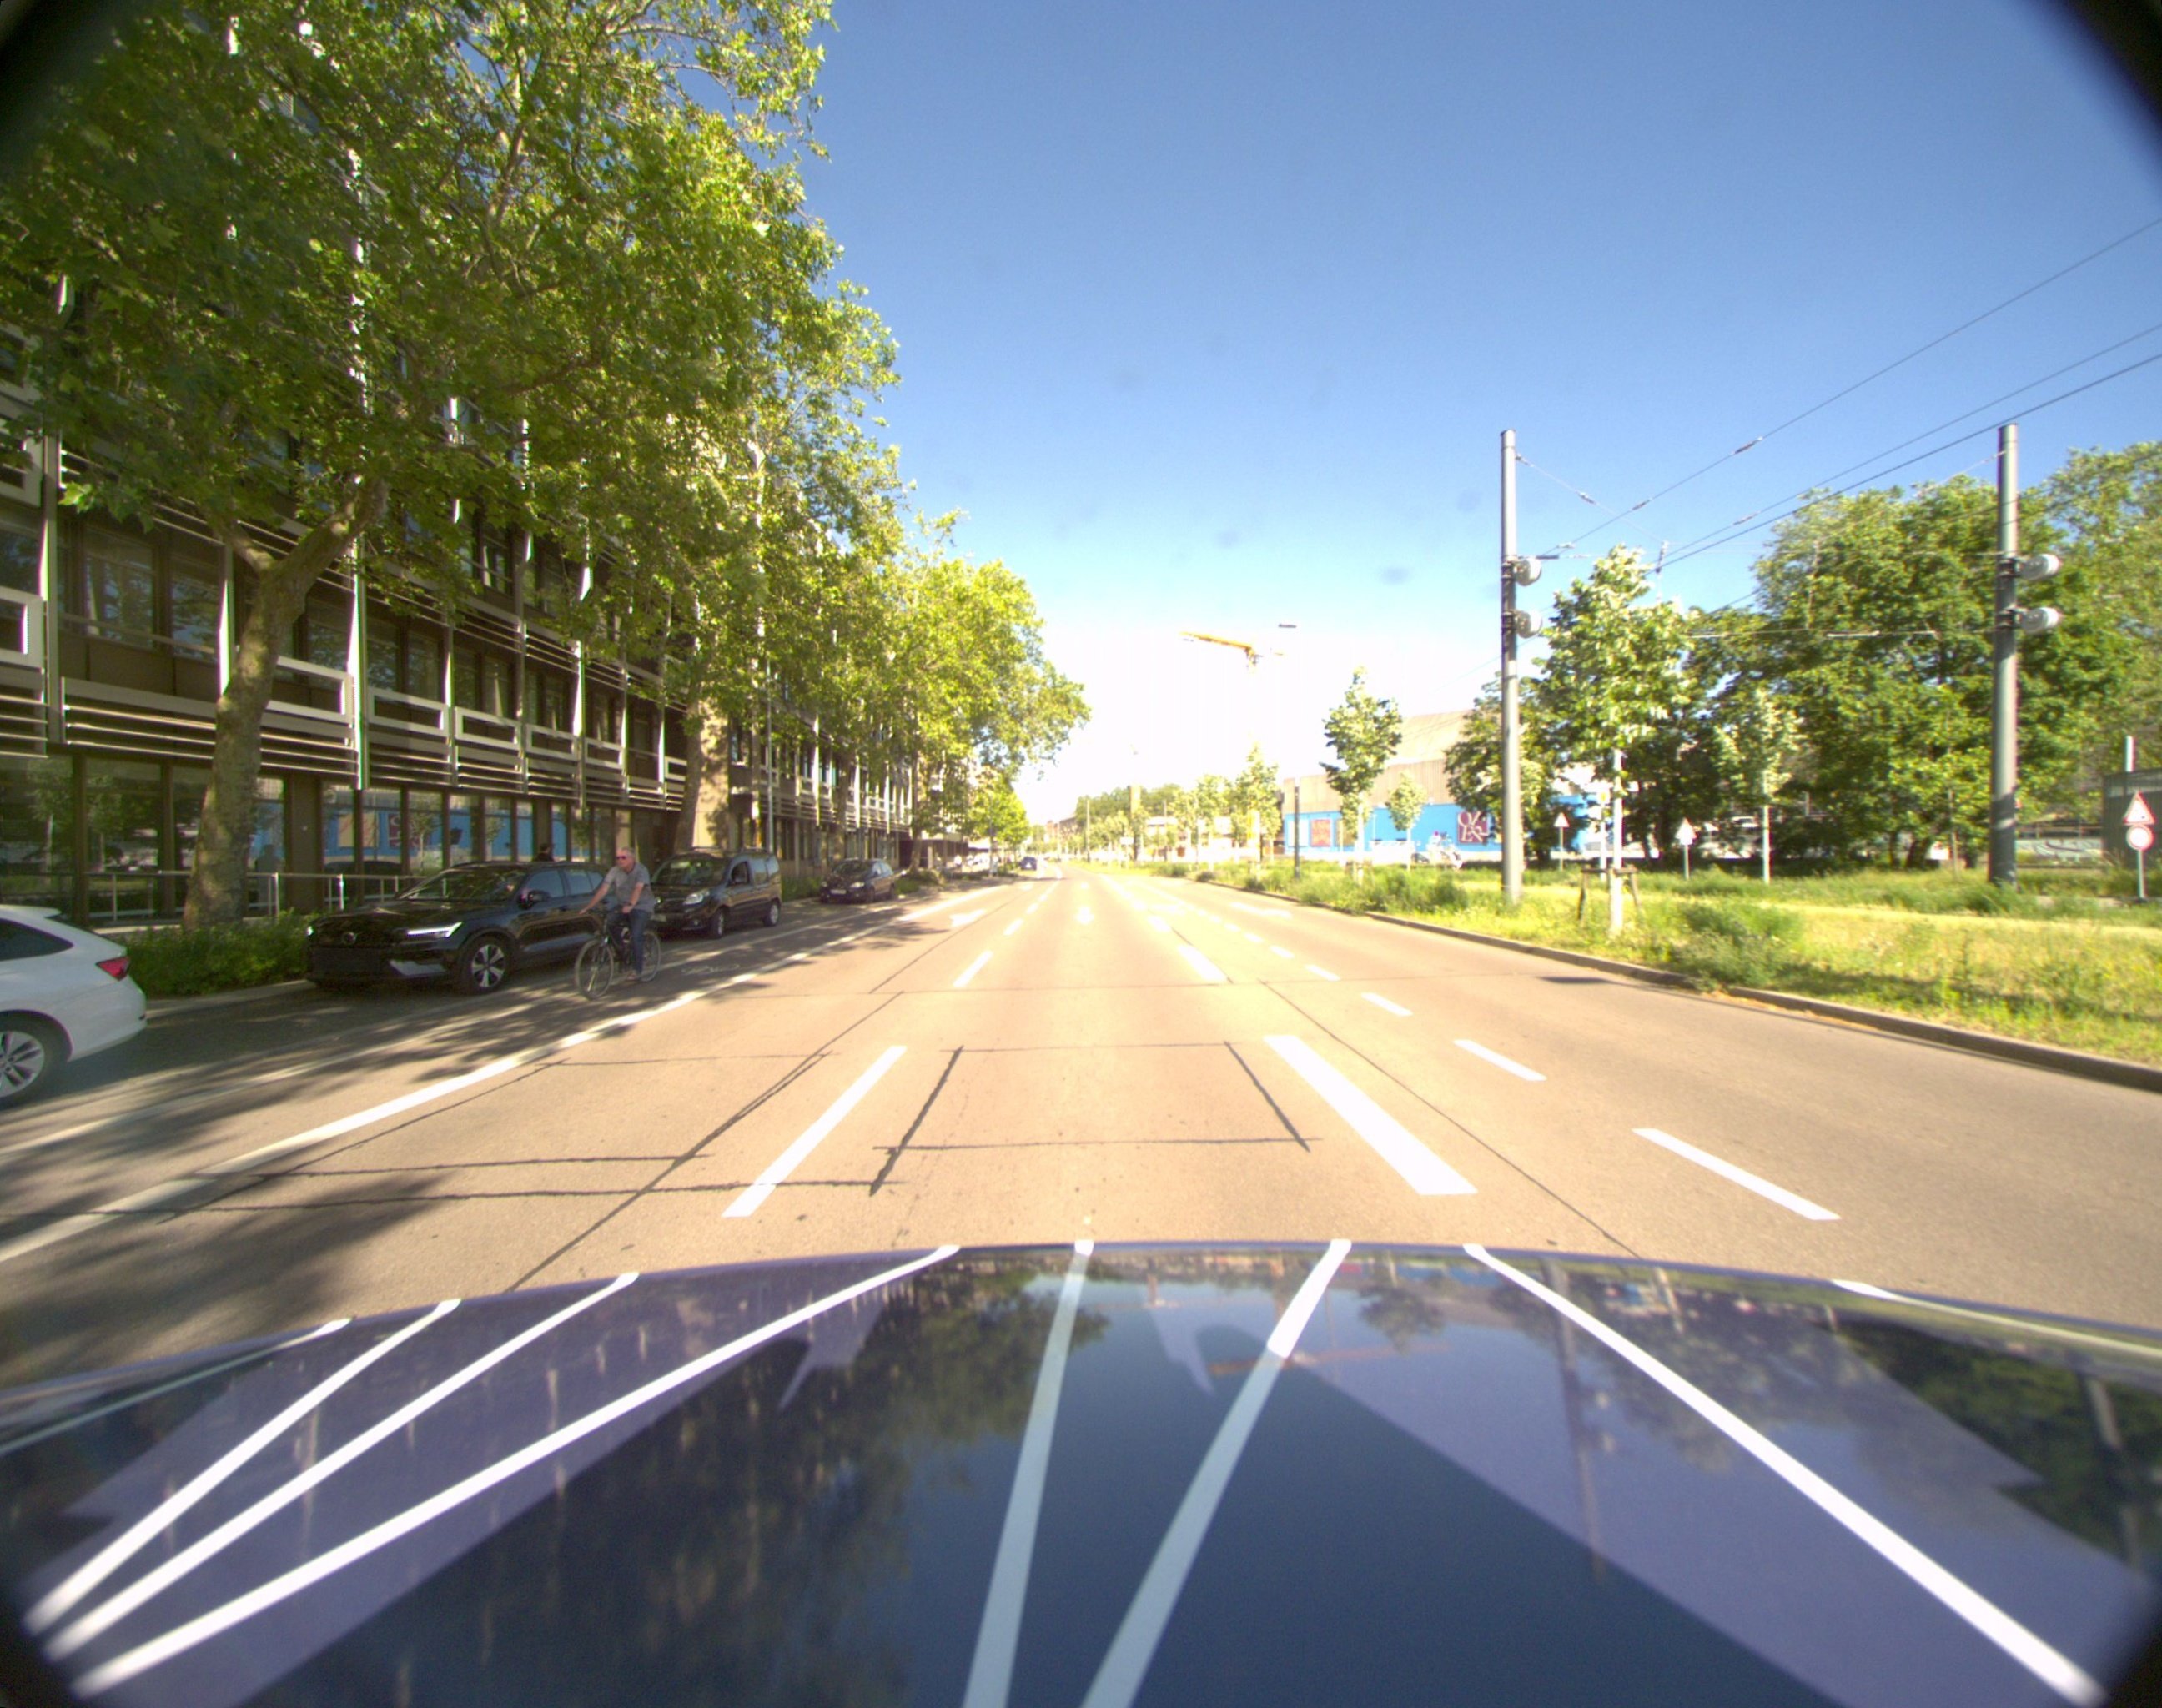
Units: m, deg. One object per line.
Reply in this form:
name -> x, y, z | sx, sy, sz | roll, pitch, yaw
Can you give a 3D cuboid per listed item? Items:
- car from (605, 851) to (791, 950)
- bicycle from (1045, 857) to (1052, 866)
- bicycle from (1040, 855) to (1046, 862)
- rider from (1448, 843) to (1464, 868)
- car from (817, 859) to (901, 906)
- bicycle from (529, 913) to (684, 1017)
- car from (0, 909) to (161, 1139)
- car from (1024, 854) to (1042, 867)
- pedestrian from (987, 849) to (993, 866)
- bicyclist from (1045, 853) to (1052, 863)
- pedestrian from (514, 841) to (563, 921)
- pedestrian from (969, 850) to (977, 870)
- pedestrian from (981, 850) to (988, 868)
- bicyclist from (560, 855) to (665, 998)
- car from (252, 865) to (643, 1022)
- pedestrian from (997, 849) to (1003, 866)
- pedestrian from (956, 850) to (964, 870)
car -> -7.914, 0.851, 16.215 | 1.752, 1.810, 4.337 | 1, 0, 0
bicycle -> -4.418, 1.000, 104.385 | 0.845, 1.123, 2.553 | -1, 0, 1
bicycle -> -6.344, 0.714, 127.824 | 0.845, 1.123, 2.552 | -1, 0, -5
rider -> 23.787, 0.093, 48.188 | 0.724, 1.513, 0.631 | -1, 1, -2
car -> -7.956, 0.967, 27.624 | 1.752, 1.545, 4.337 | 1, 0, 0
bicycle -> -5.824, 1.318, 9.487 | 0.711, 0.987, 1.923 | -3, 0, -1
car -> -8.215, 1.185, 3.770 | 1.752, 1.481, 4.560 | 1, 0, 0
car -> -5.688, 0.758, 90.646 | 1.999, 1.597, 3.895 | -1, 0, -1
pedestrian -> -10.107, 0.391, 84.317 | 0.591, 1.830, 0.569 | -1, 1, 0
bicyclist -> -4.429, 0.511, 104.318 | 0.830, 1.380, 0.904 | -1, 0, 1
pedestrian -> -13.802, 0.682, 19.339 | 0.741, 2.002, 0.626 | -1, 1, 1
pedestrian -> -10.045, 0.591, 70.823 | 0.591, 1.830, 0.696 | -1, 1, 0
pedestrian -> -9.751, 0.492, 76.568 | 0.591, 1.830, 0.569 | -1, 1, 0
bicyclist -> -5.854, 0.872, 9.545 | 0.711, 1.678, 0.852 | -3, 0, -1
car -> -8.157, 1.011, 10.450 | 1.752, 1.624, 4.337 | 1, 0, 0
pedestrian -> -8.491, 0.368, 79.892 | 0.591, 1.830, 0.569 | -1, 1, 0
pedestrian -> -11.479, 0.564, 72.237 | 0.591, 1.830, 0.697 | -1, 1, 0
